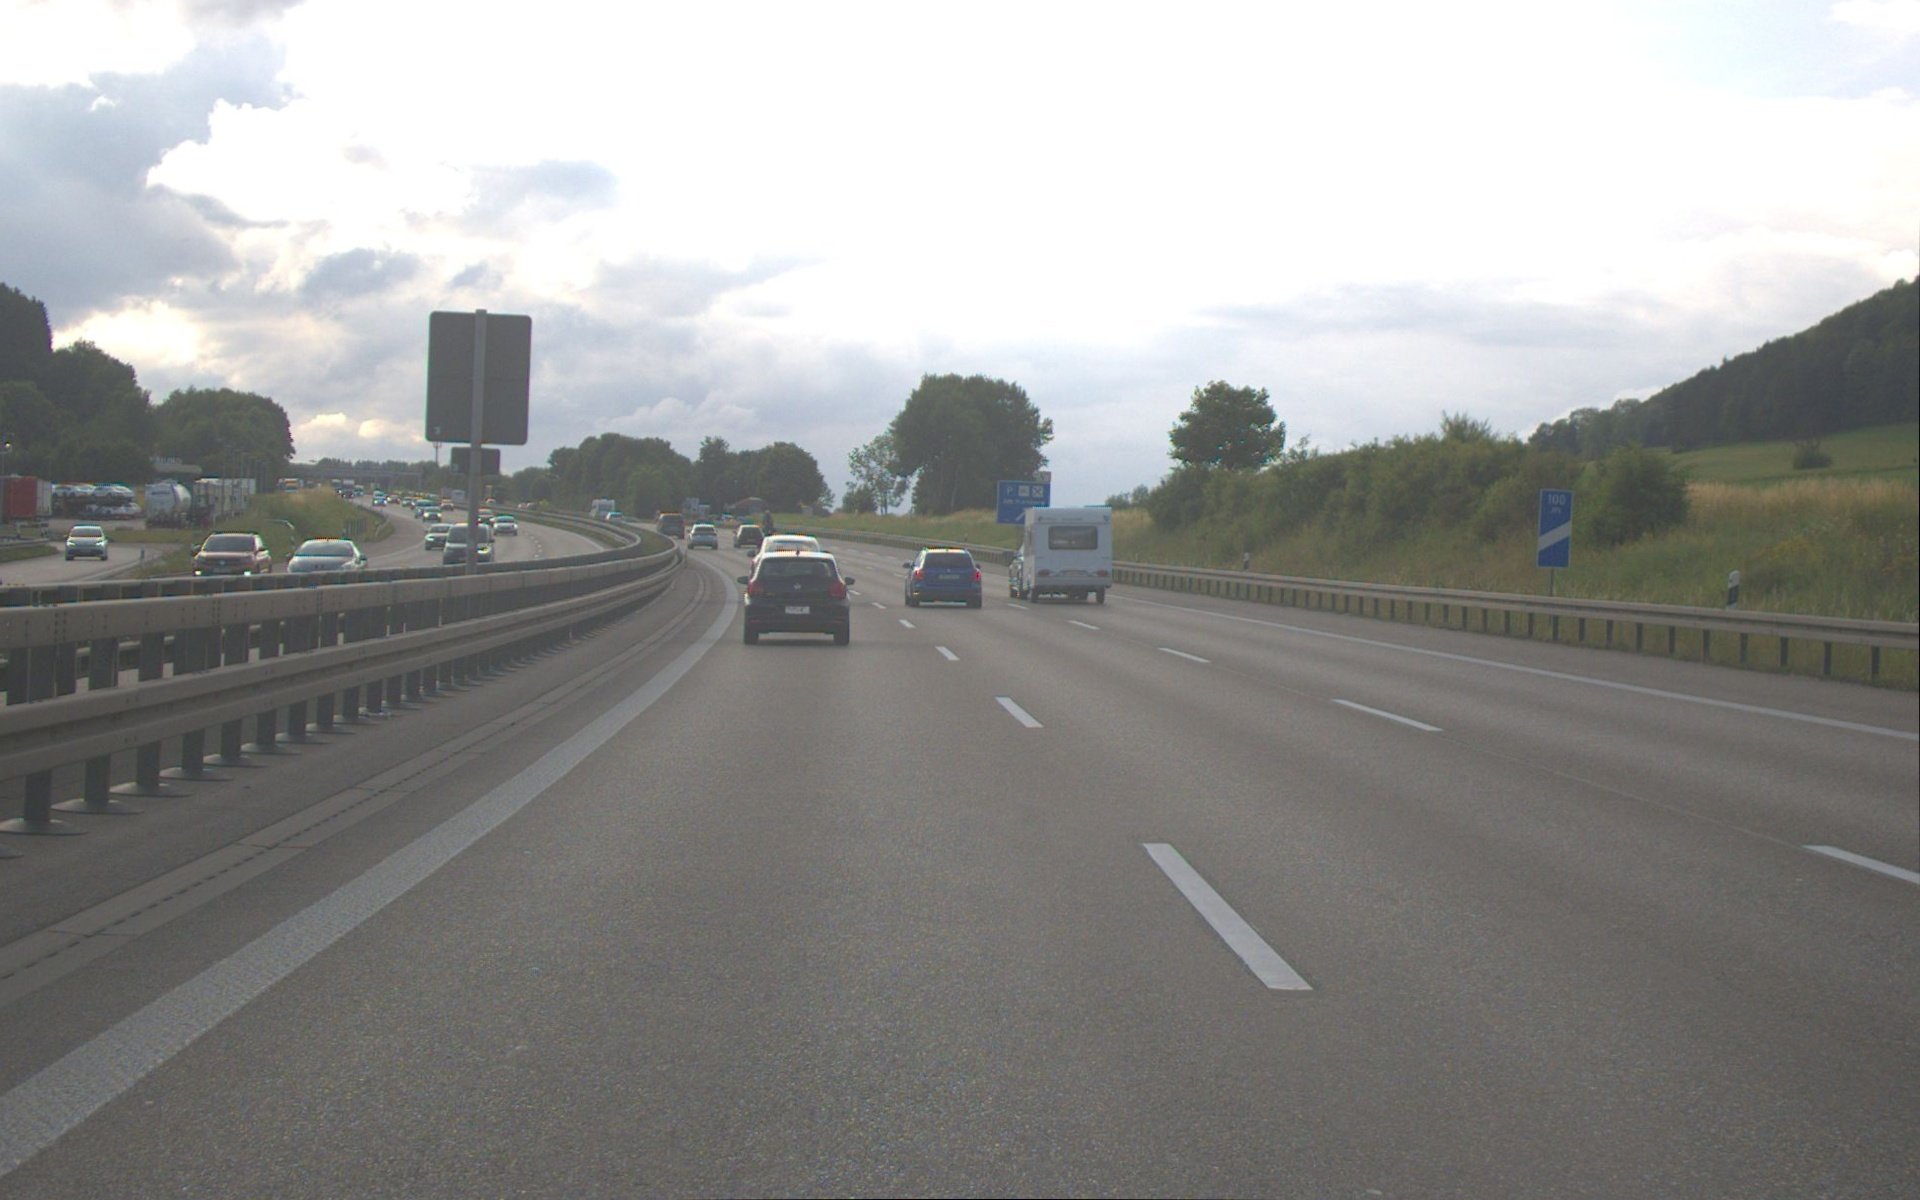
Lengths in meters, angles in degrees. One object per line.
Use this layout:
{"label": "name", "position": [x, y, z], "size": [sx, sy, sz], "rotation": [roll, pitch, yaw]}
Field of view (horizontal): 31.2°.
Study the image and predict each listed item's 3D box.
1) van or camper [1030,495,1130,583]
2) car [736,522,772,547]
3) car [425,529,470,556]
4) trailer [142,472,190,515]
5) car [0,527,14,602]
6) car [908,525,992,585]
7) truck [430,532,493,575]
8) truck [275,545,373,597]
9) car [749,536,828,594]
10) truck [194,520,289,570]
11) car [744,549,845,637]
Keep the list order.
{"label": "van or camper", "position": [3.162, -1.598, 91.284], "size": [2.548, 2.232, 5.329], "rotation": [1, 1, 1]}
{"label": "car", "position": [-13.399, -4.275, 224.090], "size": [1.957, 1.568, 4.000], "rotation": [1, 0, 2]}
{"label": "car", "position": [-29.325, -3.303, 196.921], "size": [1.993, 1.481, 4.000], "rotation": [0, 1, 0]}
{"label": "trailer", "position": [-57.941, -7.720, 251.106], "size": [2.578, 2.843, 12.266], "rotation": [1, 0, -9]}
{"label": "car", "position": [-18.082, -0.606, 60.227], "size": [1.993, 1.349, 4.356], "rotation": [0, 1, -3]}
{"label": "car", "position": [-0.264, -1.132, 84.623], "size": [1.766, 1.428, 4.001], "rotation": [0, 1, -5]}
{"label": "truck", "position": [-19.424, -1.819, 133.890], "size": [1.993, 1.589, 4.848], "rotation": [-1, 1, -13]}
{"label": "truck", "position": [-15.758, -0.728, 85.347], "size": [1.993, 1.218, 4.001], "rotation": [-1, 1, -5]}
{"label": "car", "position": [-4.218, -0.877, 83.973], "size": [1.565, 1.375, 4.001], "rotation": [0, 1, -8]}
{"label": "truck", "position": [-20.050, -1.544, 96.079], "size": [1.993, 1.349, 3.947], "rotation": [0, 1, -3]}
{"label": "car", "position": [-2.658, -0.124, 54.744], "size": [1.538, 1.343, 3.677], "rotation": [1, 1, -3]}
